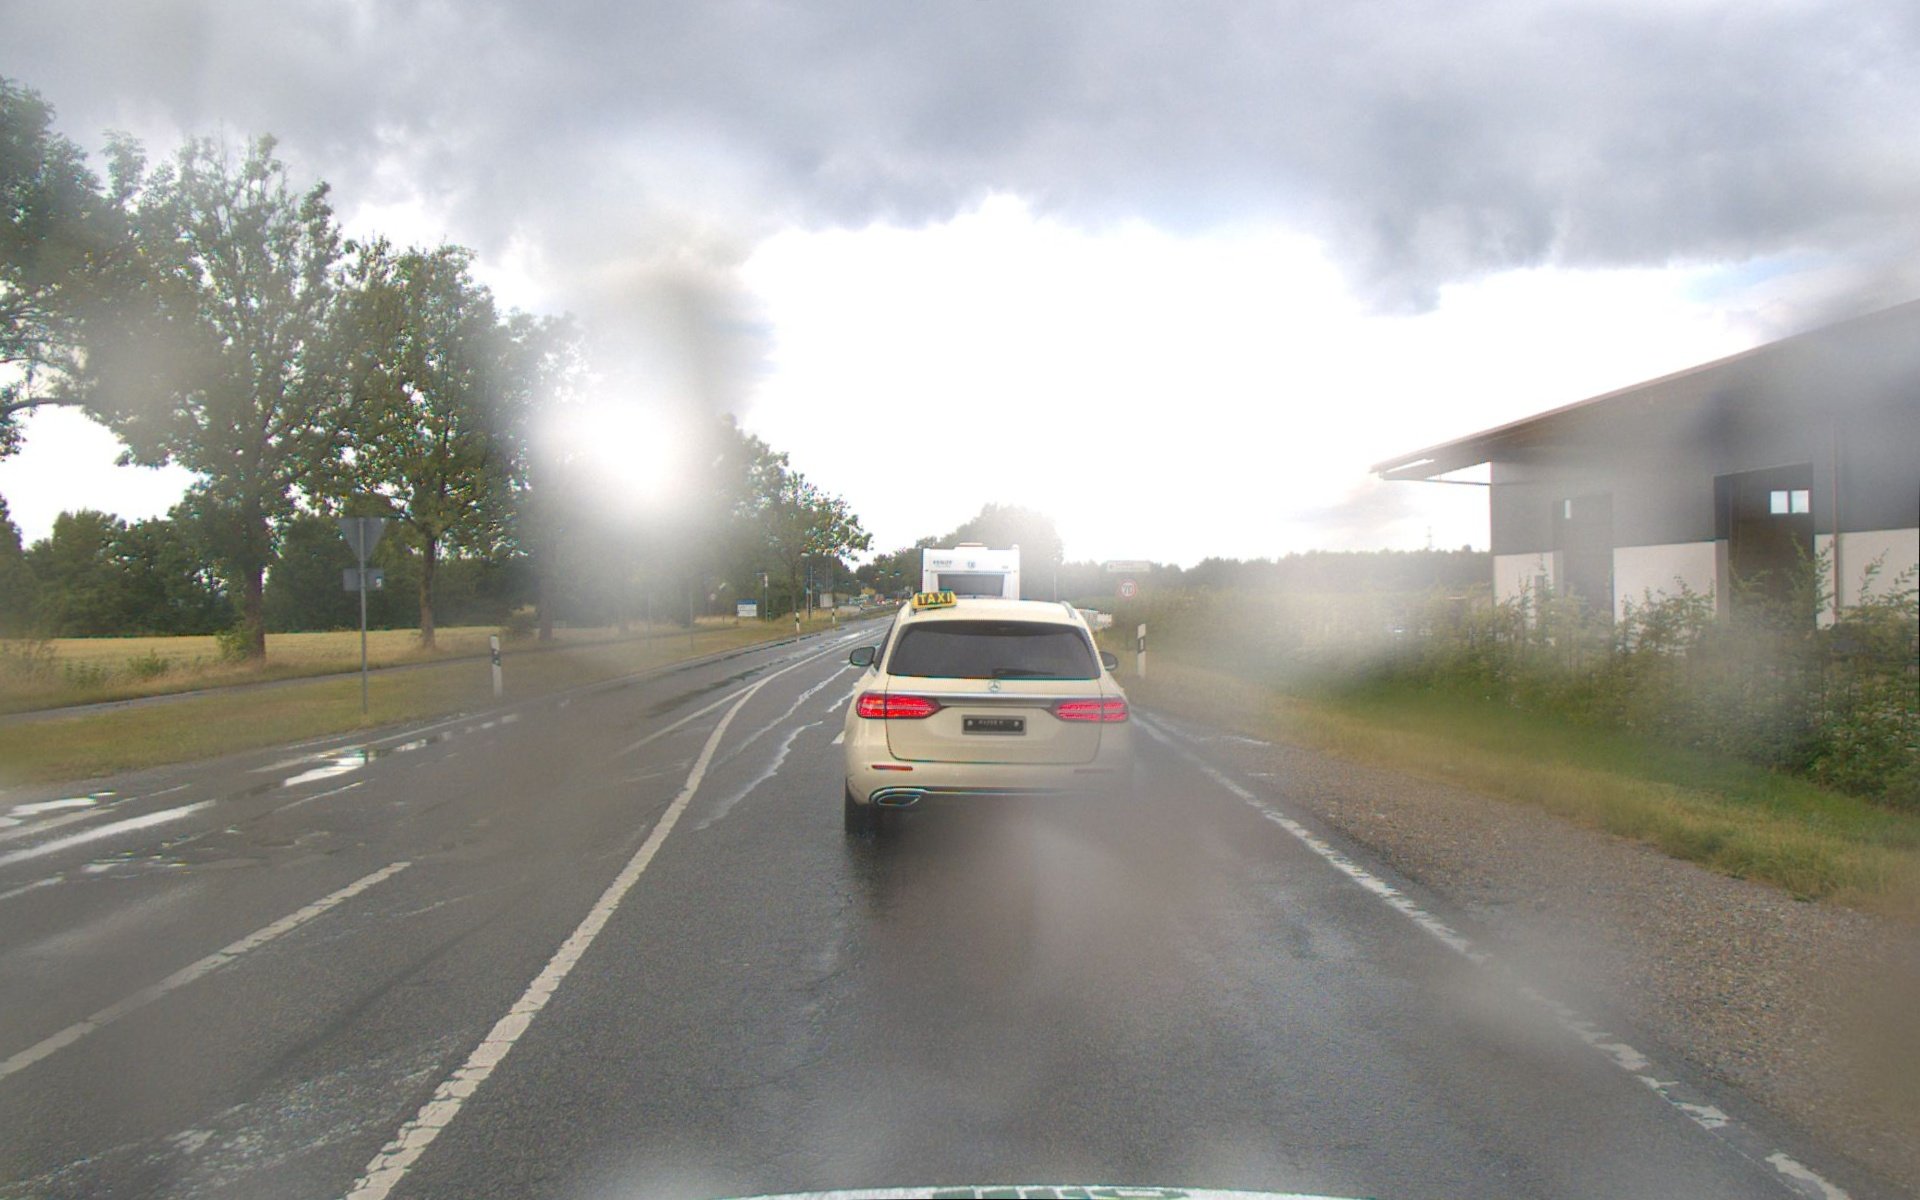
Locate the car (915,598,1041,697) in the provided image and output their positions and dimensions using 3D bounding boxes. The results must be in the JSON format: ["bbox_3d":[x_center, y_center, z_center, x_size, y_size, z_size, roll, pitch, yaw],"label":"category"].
[{"bbox_3d":[0.239,0.696,26.287,1.856,1.454,3.927,0,0,-1],"label":"car"}]

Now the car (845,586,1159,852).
[{"bbox_3d":[0.239,0.665,11.327,1.760,1.490,4.030,0,0,0],"label":"car"}]

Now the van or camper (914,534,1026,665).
[{"bbox_3d":[0.255,-0.009,40.303,2.446,2.880,5.934,-2,0,0],"label":"van or camper"}]
